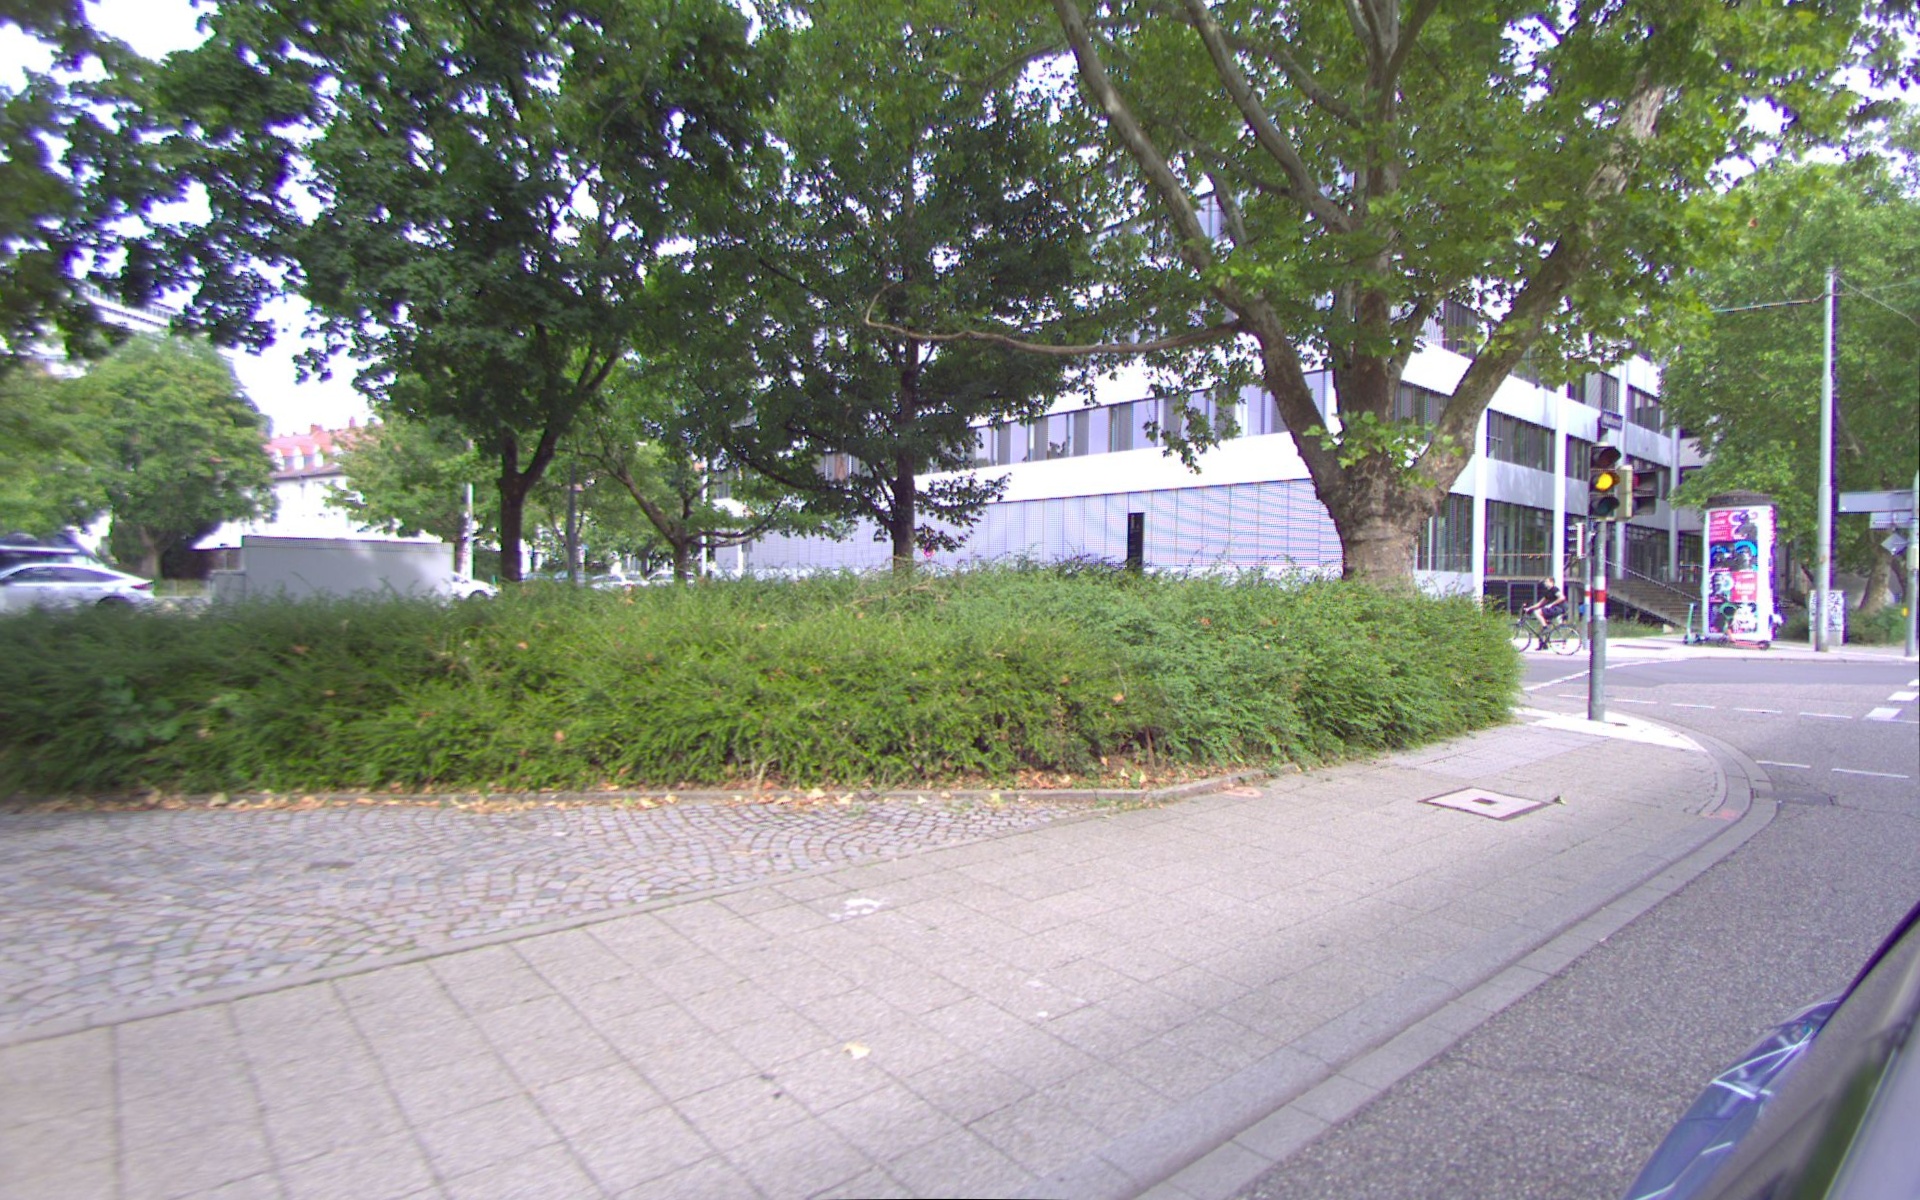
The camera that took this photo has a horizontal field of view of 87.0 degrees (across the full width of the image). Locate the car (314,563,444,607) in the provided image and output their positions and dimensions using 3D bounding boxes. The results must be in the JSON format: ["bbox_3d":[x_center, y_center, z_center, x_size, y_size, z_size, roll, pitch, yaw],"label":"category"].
[{"bbox_3d":[-25.670,-0.613,44.829,4.693,1.817,1.995,0,-1,-44],"label":"car"}]

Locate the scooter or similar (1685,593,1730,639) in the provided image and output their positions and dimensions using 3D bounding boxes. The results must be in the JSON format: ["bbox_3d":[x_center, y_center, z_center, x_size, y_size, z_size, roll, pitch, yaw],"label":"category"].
[{"bbox_3d":[20.352,0.417,27.571,0.465,1.151,1.305,2,2,15],"label":"scooter or similar"}]

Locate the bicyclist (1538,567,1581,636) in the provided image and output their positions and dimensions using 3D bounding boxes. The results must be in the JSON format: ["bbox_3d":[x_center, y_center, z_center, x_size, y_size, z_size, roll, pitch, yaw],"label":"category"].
[{"bbox_3d":[14.253,0.051,24.066,0.794,1.604,0.766,-2,-2,28],"label":"bicyclist"}]

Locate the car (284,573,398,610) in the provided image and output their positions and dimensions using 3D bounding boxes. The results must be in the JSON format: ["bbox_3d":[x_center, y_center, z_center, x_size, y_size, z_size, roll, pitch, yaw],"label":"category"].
[{"bbox_3d":[-31.871,-0.405,52.181,4.694,1.817,1.995,0,-1,-44],"label":"car"}]

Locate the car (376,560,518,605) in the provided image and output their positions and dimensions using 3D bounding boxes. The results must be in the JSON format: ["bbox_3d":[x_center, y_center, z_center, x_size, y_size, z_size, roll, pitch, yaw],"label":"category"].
[{"bbox_3d":[-20.038,-0.647,39.632,4.688,1.651,1.997,0,-1,-40],"label":"car"}]

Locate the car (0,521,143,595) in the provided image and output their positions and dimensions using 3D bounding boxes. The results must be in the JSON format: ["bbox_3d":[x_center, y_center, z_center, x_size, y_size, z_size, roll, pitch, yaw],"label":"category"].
[{"bbox_3d":[-35.234,-1.561,39.195,5.405,2.647,2.437,0,-1,-44],"label":"car"}]

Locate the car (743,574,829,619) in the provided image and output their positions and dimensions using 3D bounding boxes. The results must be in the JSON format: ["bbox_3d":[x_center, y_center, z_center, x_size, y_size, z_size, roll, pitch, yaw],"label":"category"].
[{"bbox_3d":[-8.253,-0.150,47.912,3.982,2.039,1.971,-1,-1,41],"label":"car"}]

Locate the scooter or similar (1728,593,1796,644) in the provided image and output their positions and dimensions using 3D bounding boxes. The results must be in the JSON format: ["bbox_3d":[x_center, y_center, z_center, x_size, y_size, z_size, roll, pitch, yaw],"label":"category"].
[{"bbox_3d":[21.114,0.472,26.669,0.338,1.224,1.311,0,3,-36],"label":"scooter or similar"}]

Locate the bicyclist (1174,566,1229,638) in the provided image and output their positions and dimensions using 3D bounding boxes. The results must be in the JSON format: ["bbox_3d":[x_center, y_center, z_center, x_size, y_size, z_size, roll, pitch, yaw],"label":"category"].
[{"bbox_3d":[5.448,0.025,22.824,0.898,1.596,0.831,-1,1,-36],"label":"bicyclist"}]

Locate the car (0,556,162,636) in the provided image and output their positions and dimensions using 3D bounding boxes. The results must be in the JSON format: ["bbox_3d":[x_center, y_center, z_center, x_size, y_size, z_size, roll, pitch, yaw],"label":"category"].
[{"bbox_3d":[-22.201,-0.086,24.223,4.694,1.817,1.995,0,-1,-44],"label":"car"}]

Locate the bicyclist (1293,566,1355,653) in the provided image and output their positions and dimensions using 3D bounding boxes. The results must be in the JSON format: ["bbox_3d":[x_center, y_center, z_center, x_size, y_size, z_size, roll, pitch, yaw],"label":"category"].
[{"bbox_3d":[7.331,0.171,20.377,0.898,1.699,0.831,-1,1,-36],"label":"bicyclist"}]

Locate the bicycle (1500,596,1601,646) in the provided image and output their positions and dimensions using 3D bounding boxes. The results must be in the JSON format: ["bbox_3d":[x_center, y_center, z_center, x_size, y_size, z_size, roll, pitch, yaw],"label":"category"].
[{"bbox_3d":[14.052,0.503,24.152,1.984,1.145,0.766,-1,-2,27],"label":"bicycle"}]

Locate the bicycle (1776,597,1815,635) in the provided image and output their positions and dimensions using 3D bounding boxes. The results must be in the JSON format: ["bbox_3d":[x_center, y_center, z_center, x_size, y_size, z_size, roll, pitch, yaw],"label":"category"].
[{"bbox_3d":[27.187,0.508,32.935,1.695,1.184,0.699,0,-1,-41],"label":"bicycle"}]

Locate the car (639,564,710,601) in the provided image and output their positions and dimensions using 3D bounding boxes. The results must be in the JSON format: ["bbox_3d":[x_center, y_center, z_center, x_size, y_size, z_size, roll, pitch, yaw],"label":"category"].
[{"bbox_3d":[-15.471,-0.926,54.756,3.862,1.885,1.925,-1,-1,41],"label":"car"}]

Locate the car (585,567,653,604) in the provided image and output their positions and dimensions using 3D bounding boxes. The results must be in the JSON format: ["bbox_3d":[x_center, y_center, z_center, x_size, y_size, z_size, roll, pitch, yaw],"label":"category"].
[{"bbox_3d":[-19.555,-0.803,57.997,3.982,2.039,1.971,-1,-1,41],"label":"car"}]
